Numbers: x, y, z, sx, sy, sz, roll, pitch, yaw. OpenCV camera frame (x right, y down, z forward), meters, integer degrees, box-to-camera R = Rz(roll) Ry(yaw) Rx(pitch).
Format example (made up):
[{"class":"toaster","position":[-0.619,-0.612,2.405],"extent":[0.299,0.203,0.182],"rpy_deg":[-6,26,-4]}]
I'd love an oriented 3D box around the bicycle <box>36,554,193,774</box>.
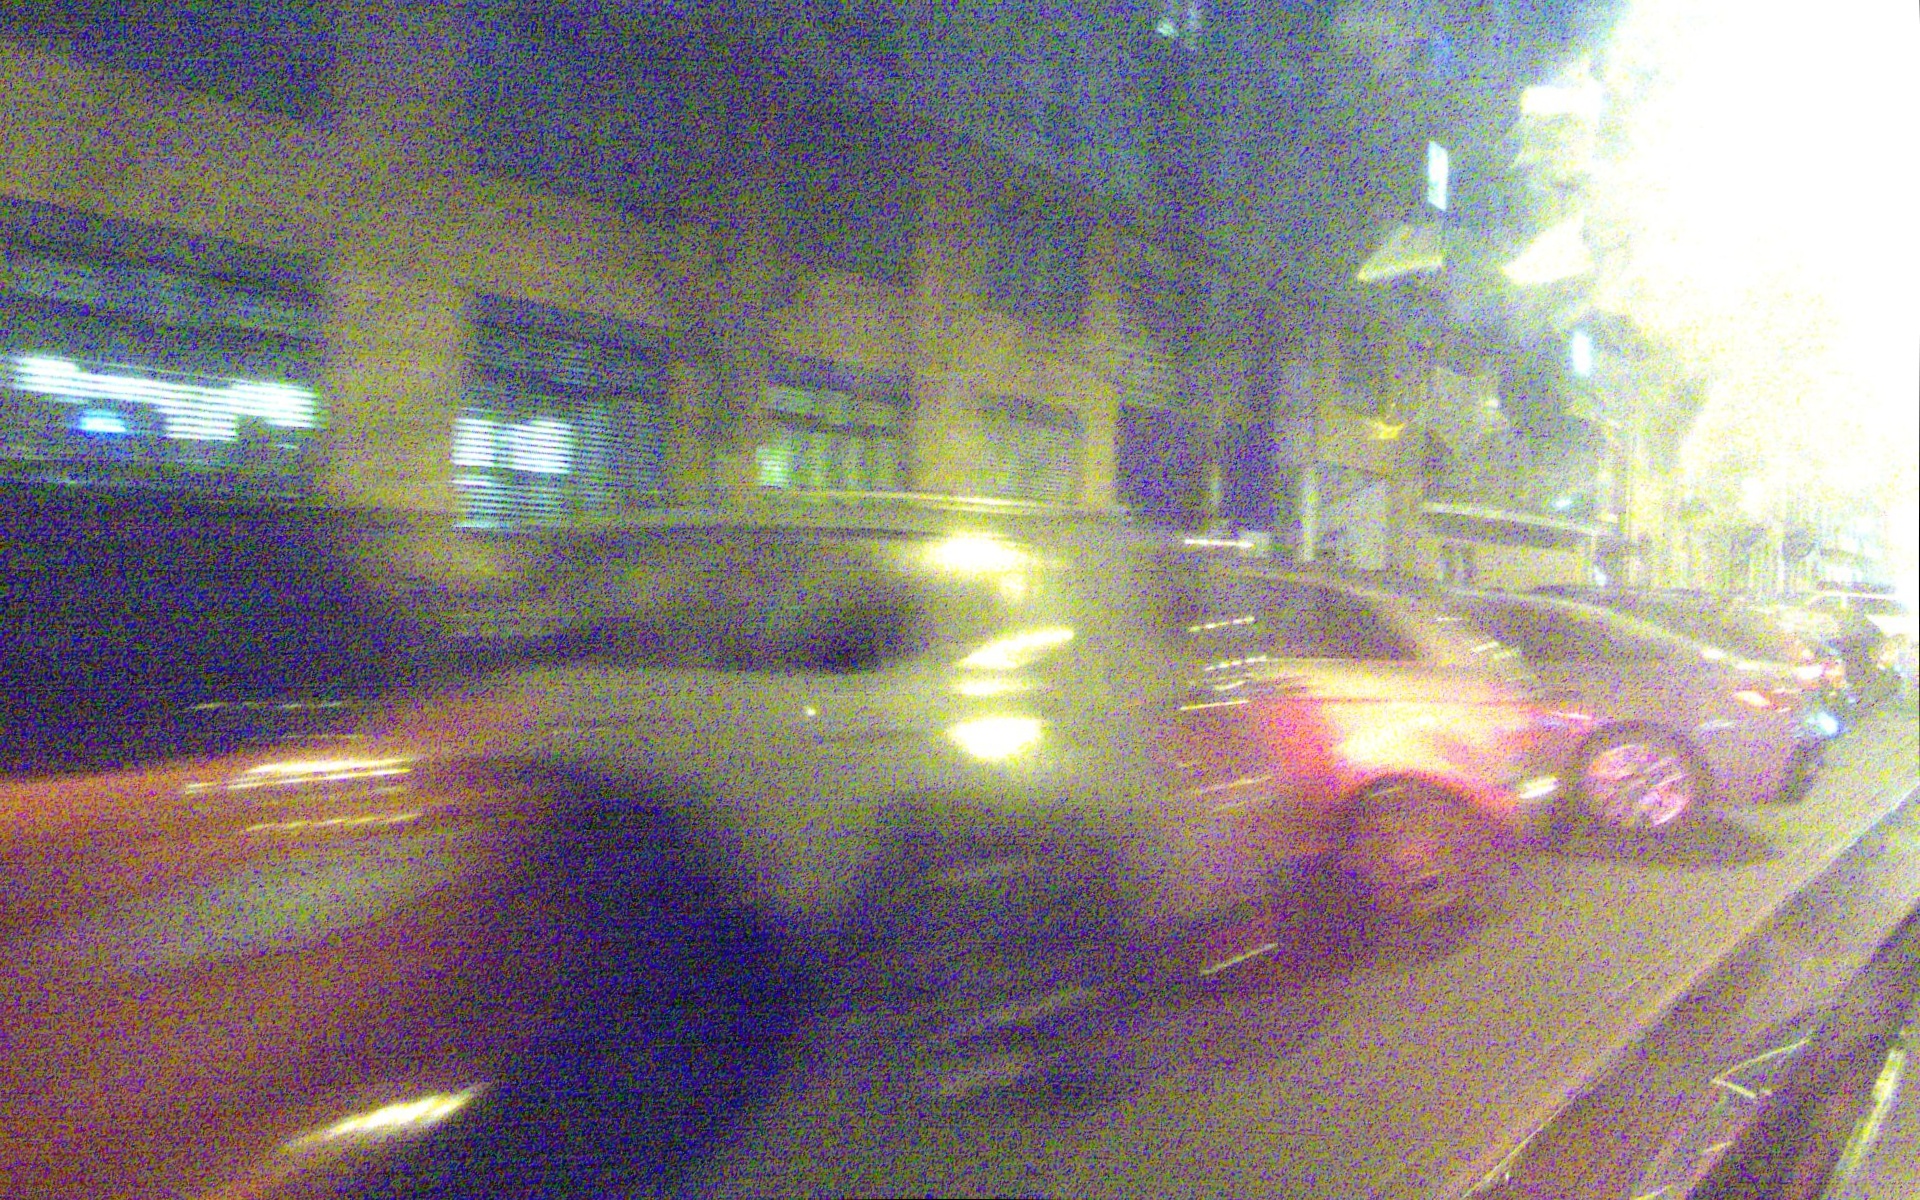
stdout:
[{"class":"bicycle","position":[-5.194,0.304,6.167],"extent":[1.972,1.067,0.502],"rpy_deg":[6,4,43]}]

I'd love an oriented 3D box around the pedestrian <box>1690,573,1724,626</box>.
[{"class":"pedestrian","position":[27.252,-0.014,36.910],"extent":[0.828,1.864,0.747],"rpy_deg":[4,1,-42]}]

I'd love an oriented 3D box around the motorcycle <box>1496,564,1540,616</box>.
[{"class":"motorcycle","position":[14.656,-0.251,26.554],"extent":[0.522,1.335,2.093],"rpy_deg":[1,0,42]}]

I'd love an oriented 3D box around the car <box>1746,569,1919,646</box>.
[{"class":"car","position":[29.659,0.227,33.717],"extent":[4.872,2.370,2.221],"rpy_deg":[2,1,15]}]

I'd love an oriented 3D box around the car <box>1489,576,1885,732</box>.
[{"class":"car","position":[8.815,0.563,12.694],"extent":[3.674,1.541,1.643],"rpy_deg":[4,3,25]}]

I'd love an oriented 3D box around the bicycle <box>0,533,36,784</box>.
[{"class":"bicycle","position":[-5.602,0.251,5.654],"extent":[1.972,1.205,0.502],"rpy_deg":[6,4,43]}]

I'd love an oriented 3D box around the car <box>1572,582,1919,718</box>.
[{"class":"car","position":[10.998,0.610,14.389],"extent":[3.674,1.541,1.643],"rpy_deg":[4,3,25]}]

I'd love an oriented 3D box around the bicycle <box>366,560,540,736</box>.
[{"class":"bicycle","position":[-3.831,0.291,7.557],"extent":[1.972,1.067,0.502],"rpy_deg":[6,4,43]}]

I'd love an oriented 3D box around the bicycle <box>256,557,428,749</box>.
[{"class":"bicycle","position":[-4.305,0.294,6.975],"extent":[1.972,1.067,0.502],"rpy_deg":[6,4,43]}]

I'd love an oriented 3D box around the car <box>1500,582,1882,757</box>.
[{"class":"car","position":[7.341,0.618,10.524],"extent":[3.020,1.571,1.490],"rpy_deg":[1,0,28]}]

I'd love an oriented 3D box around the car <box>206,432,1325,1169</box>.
[{"class":"car","position":[-0.655,0.428,3.847],"extent":[3.754,1.750,1.731],"rpy_deg":[1,0,19]}]

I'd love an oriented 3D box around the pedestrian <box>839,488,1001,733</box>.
[{"class":"pedestrian","position":[-0.337,0.046,8.393],"extent":[0.932,1.856,0.840],"rpy_deg":[-1,7,-44]}]

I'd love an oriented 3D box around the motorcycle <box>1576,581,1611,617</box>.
[{"class":"motorcycle","position":[19.532,-0.029,31.203],"extent":[1.597,1.081,0.523],"rpy_deg":[0,0,-44]}]

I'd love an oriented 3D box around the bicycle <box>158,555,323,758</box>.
[{"class":"bicycle","position":[-4.752,0.294,6.625],"extent":[1.972,1.067,0.502],"rpy_deg":[6,4,43]}]

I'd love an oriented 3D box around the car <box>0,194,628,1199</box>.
[{"class":"car","position":[-2.822,0.366,2.158],"extent":[3.722,1.750,1.708],"rpy_deg":[1,0,17]}]

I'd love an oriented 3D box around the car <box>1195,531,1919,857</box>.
[{"class":"car","position":[3.856,0.490,7.137],"extent":[4.059,1.787,1.845],"rpy_deg":[1,0,22]}]

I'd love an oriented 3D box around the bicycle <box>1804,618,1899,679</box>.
[{"class":"bicycle","position":[16.236,0.864,18.450],"extent":[0.297,0.959,1.212],"rpy_deg":[1,4,-44]}]

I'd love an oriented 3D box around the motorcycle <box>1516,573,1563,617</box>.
[{"class":"motorcycle","position":[16.386,-0.137,28.572],"extent":[2.089,1.223,0.523],"rpy_deg":[1,0,-42]}]

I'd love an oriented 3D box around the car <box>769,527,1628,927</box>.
[{"class":"car","position":[1.143,0.491,5.696],"extent":[4.012,1.631,1.832],"rpy_deg":[1,0,20]}]

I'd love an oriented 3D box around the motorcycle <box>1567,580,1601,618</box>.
[{"class":"motorcycle","position":[18.307,-0.049,29.675],"extent":[0.522,1.081,2.027],"rpy_deg":[1,1,41]}]

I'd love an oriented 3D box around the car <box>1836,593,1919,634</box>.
[{"class":"car","position":[42.247,0.624,45.541],"extent":[3.753,1.710,1.825],"rpy_deg":[3,2,19]}]

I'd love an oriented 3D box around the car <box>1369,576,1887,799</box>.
[{"class":"car","position":[5.622,0.623,9.009],"extent":[3.532,1.631,1.696],"rpy_deg":[1,0,28]}]
